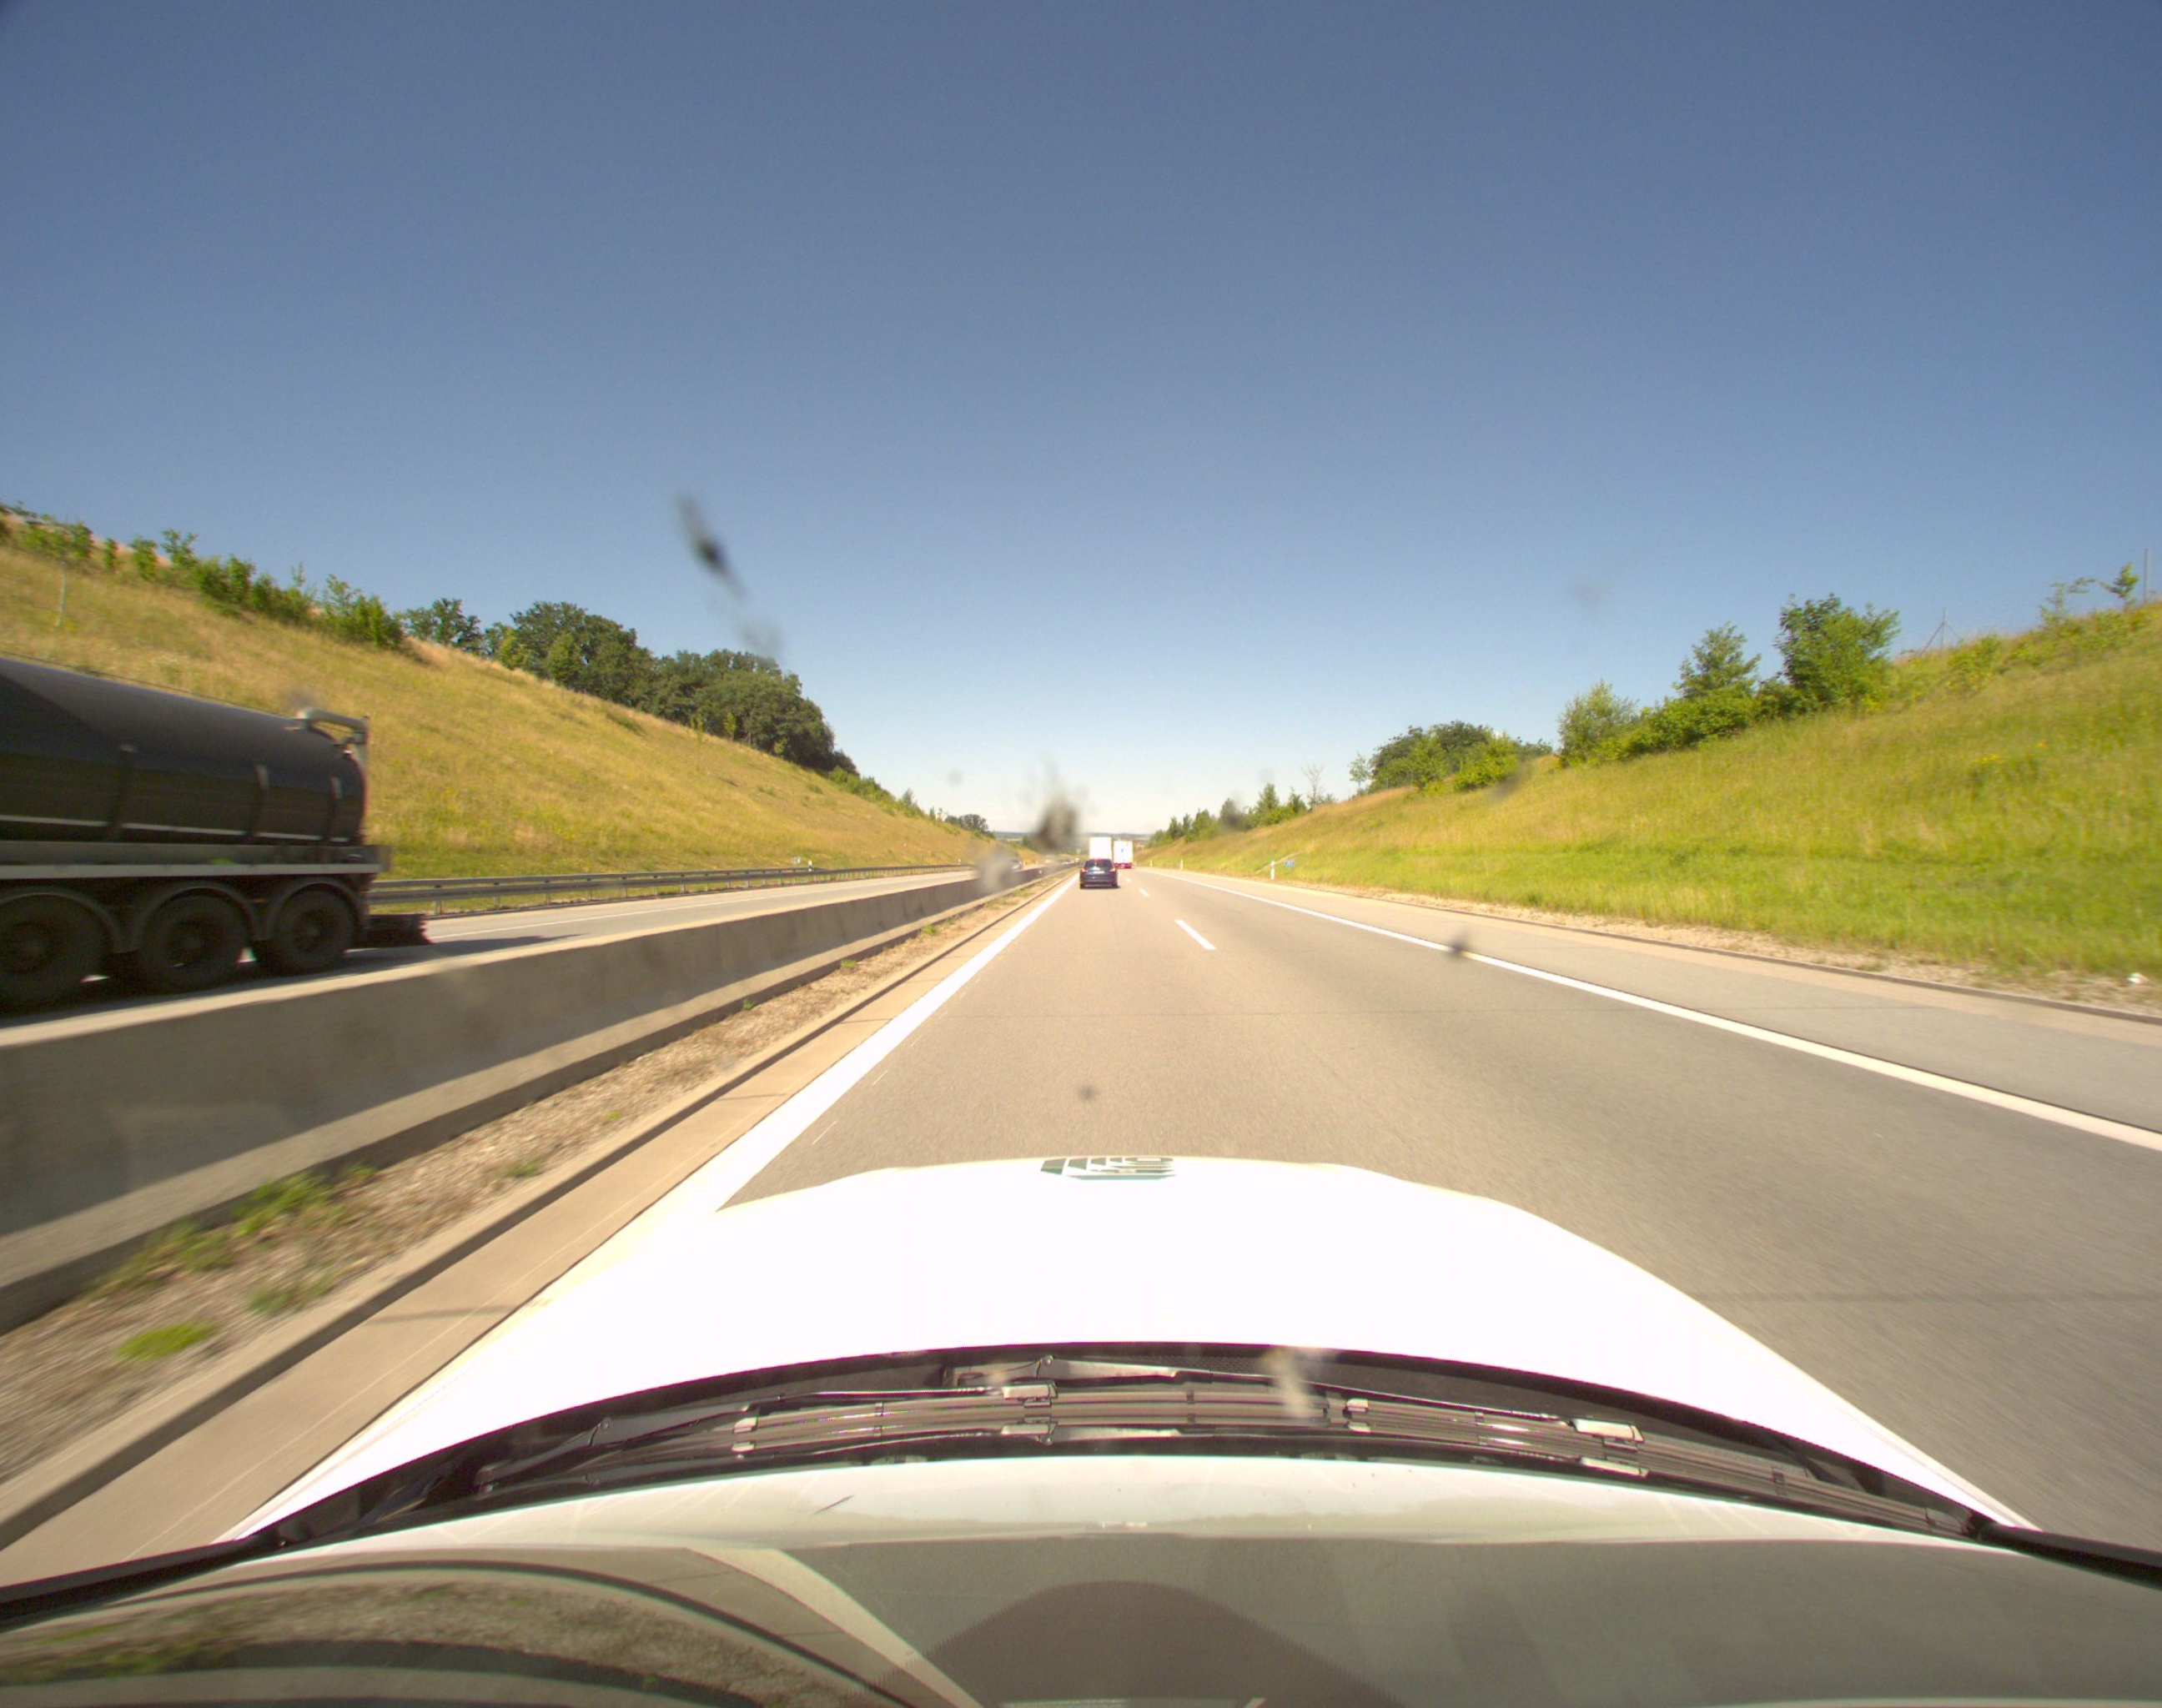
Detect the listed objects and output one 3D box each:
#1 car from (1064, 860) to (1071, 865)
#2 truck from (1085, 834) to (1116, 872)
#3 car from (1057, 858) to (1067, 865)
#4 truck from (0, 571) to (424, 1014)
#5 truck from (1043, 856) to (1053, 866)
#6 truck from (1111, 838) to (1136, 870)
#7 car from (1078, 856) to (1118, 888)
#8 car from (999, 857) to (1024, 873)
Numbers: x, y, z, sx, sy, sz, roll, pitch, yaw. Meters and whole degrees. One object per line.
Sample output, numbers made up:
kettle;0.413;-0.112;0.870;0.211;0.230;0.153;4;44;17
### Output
car;-3.950;2.458;233.597;1.847;1.461;4.332;0;0;0
truck;2.477;-0.072;99.303;3.197;4.381;11.244;0;-1;4
car;-3.867;1.467;162.236;1.847;1.461;4.768;0;0;0
truck;-11.009;-0.551;5.589;2.747;3.941;12.448;0;0;1
truck;-8.132;1.660;201.782;2.106;2.460;5.950;0;0;0
truck;6.283;0.042;119.887;3.589;4.381;11.242;0;-1;3
car;0.771;0.836;39.180;1.771;1.441;3.787;-1;0;-1
car;-6.440;0.998;75.758;1.847;1.461;4.727;0;0;0
